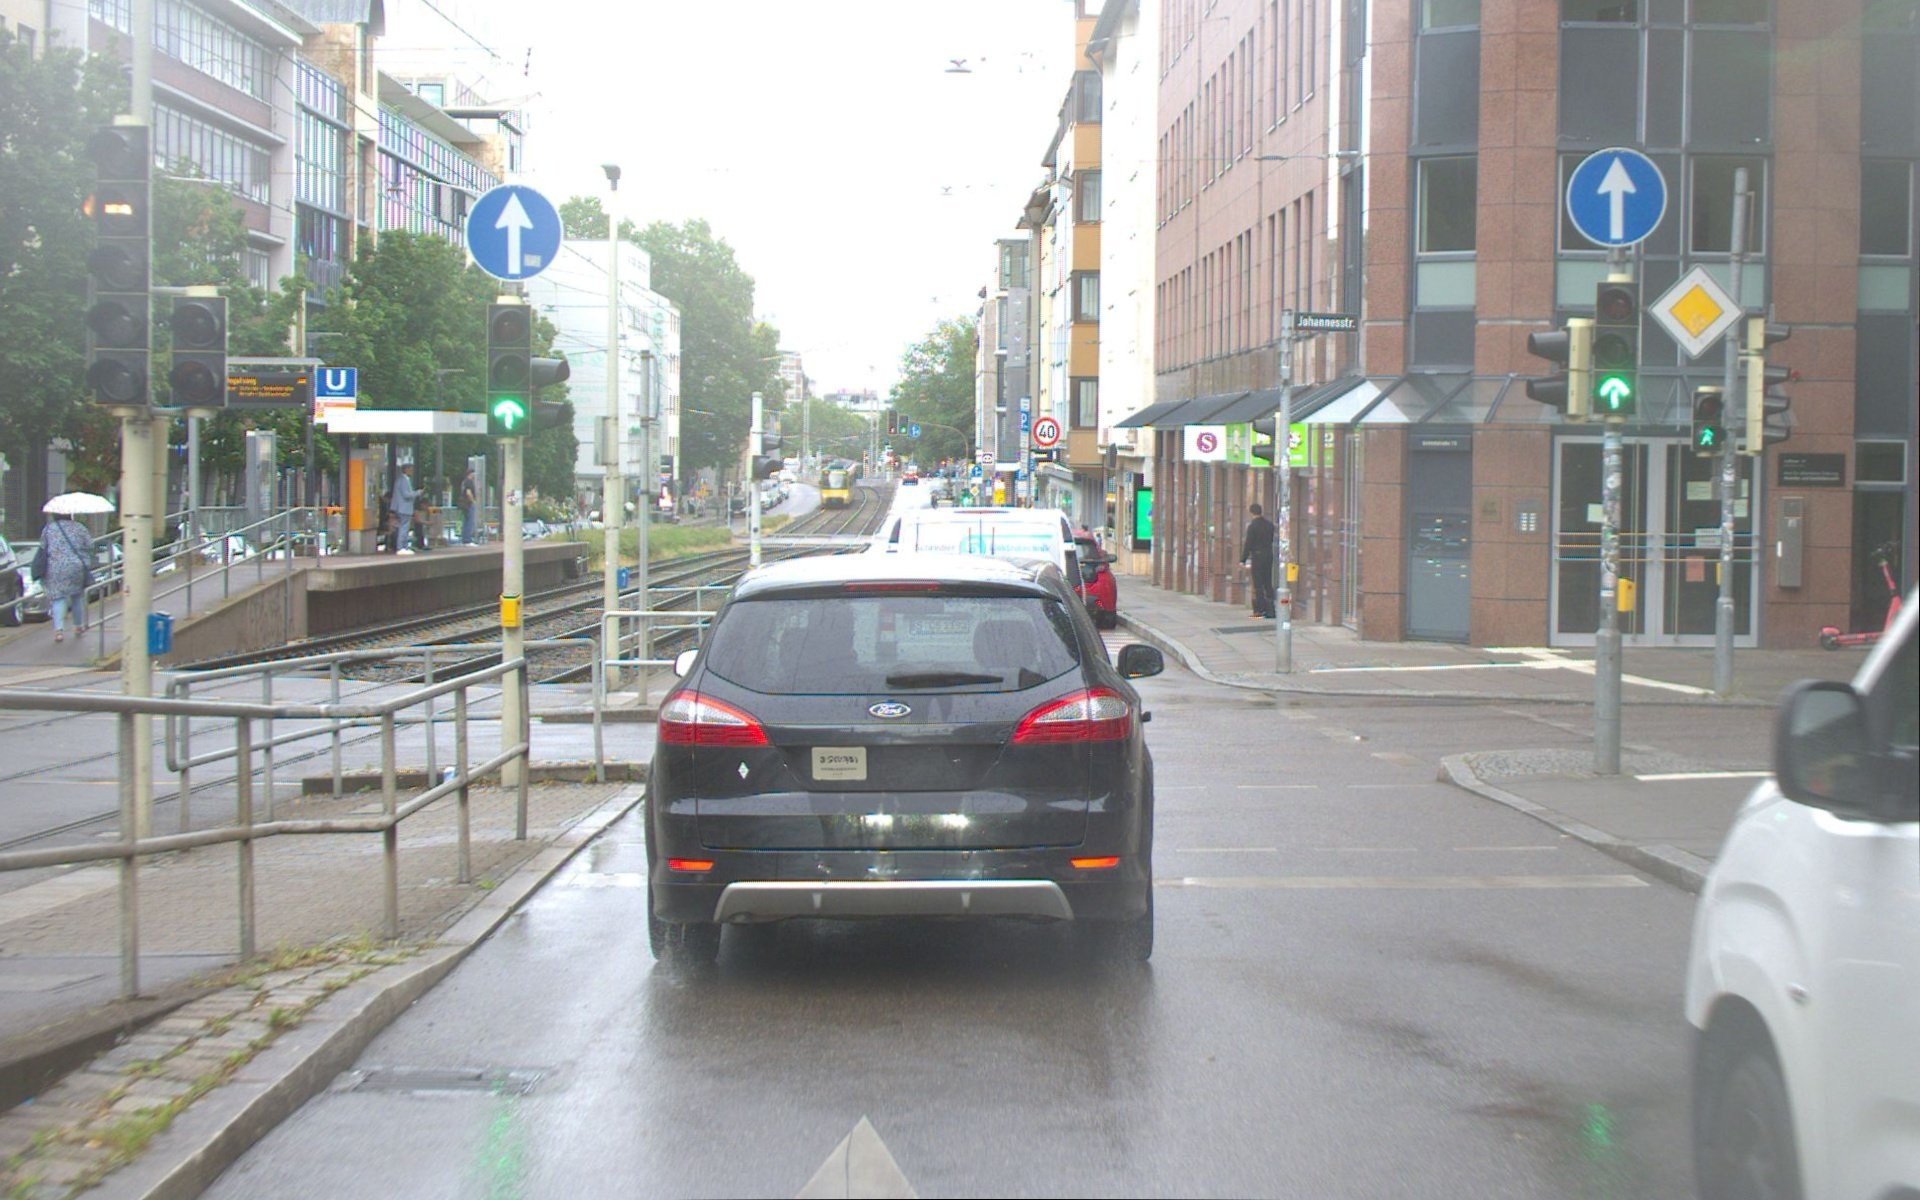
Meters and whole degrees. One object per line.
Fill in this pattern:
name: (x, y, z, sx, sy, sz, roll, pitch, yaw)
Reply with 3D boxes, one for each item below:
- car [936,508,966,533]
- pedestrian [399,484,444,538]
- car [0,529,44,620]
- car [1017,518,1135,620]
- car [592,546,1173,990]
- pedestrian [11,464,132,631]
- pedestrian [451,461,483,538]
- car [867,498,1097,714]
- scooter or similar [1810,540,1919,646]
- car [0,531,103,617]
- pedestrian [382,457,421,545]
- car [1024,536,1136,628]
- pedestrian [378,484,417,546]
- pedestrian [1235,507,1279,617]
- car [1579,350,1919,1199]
car: (-0.583, -5.176, 224.164, 1.906, 1.627, 4.574, 0, 1, 0)
pedestrian: (-11.245, -1.853, 71.781, 0.892, 1.119, 0.850, 0, 1, -11)
car: (-16.204, -0.427, 55.633, 1.840, 1.431, 4.320, 0, 1, -4)
car: (1.768, -0.494, 53.242, 1.698, 1.474, 3.867, -2, 1, 1)
car: (-0.263, 0.526, 13.010, 1.906, 1.457, 3.445, 0, 1, 0)
pedestrian: (-10.893, -0.644, 42.200, 1.116, 2.007, 1.383, 0, 1, -1)
pedestrian: (-11.547, -2.360, 80.562, 0.655, 1.795, 0.850, 0, 1, -3)
car: (0.280, 0.017, 31.972, 1.907, 1.858, 4.573, 0, 1, 3)
scooter or similar: (10.613, -0.081, 39.963, 1.374, 1.223, 0.325, 0, 1, 3)
car: (-16.170, -0.480, 60.157, 1.568, 1.431, 3.980, 0, 1, -4)
pedestrian: (-10.913, -1.936, 67.147, 0.655, 1.705, 0.850, 0, 1, -3)
car: (2.015, -0.324, 58.570, 1.698, 1.457, 3.867, -2, 1, 0)
pedestrian: (-11.357, -1.719, 69.430, 0.692, 1.245, 0.884, 0, 1, -3)
pedestrian: (4.468, -0.572, 51.774, 0.601, 1.653, 0.625, 0, 1, 0)
car: (2.295, 0.559, 4.521, 1.906, 1.800, 4.778, 0, 1, -2)
